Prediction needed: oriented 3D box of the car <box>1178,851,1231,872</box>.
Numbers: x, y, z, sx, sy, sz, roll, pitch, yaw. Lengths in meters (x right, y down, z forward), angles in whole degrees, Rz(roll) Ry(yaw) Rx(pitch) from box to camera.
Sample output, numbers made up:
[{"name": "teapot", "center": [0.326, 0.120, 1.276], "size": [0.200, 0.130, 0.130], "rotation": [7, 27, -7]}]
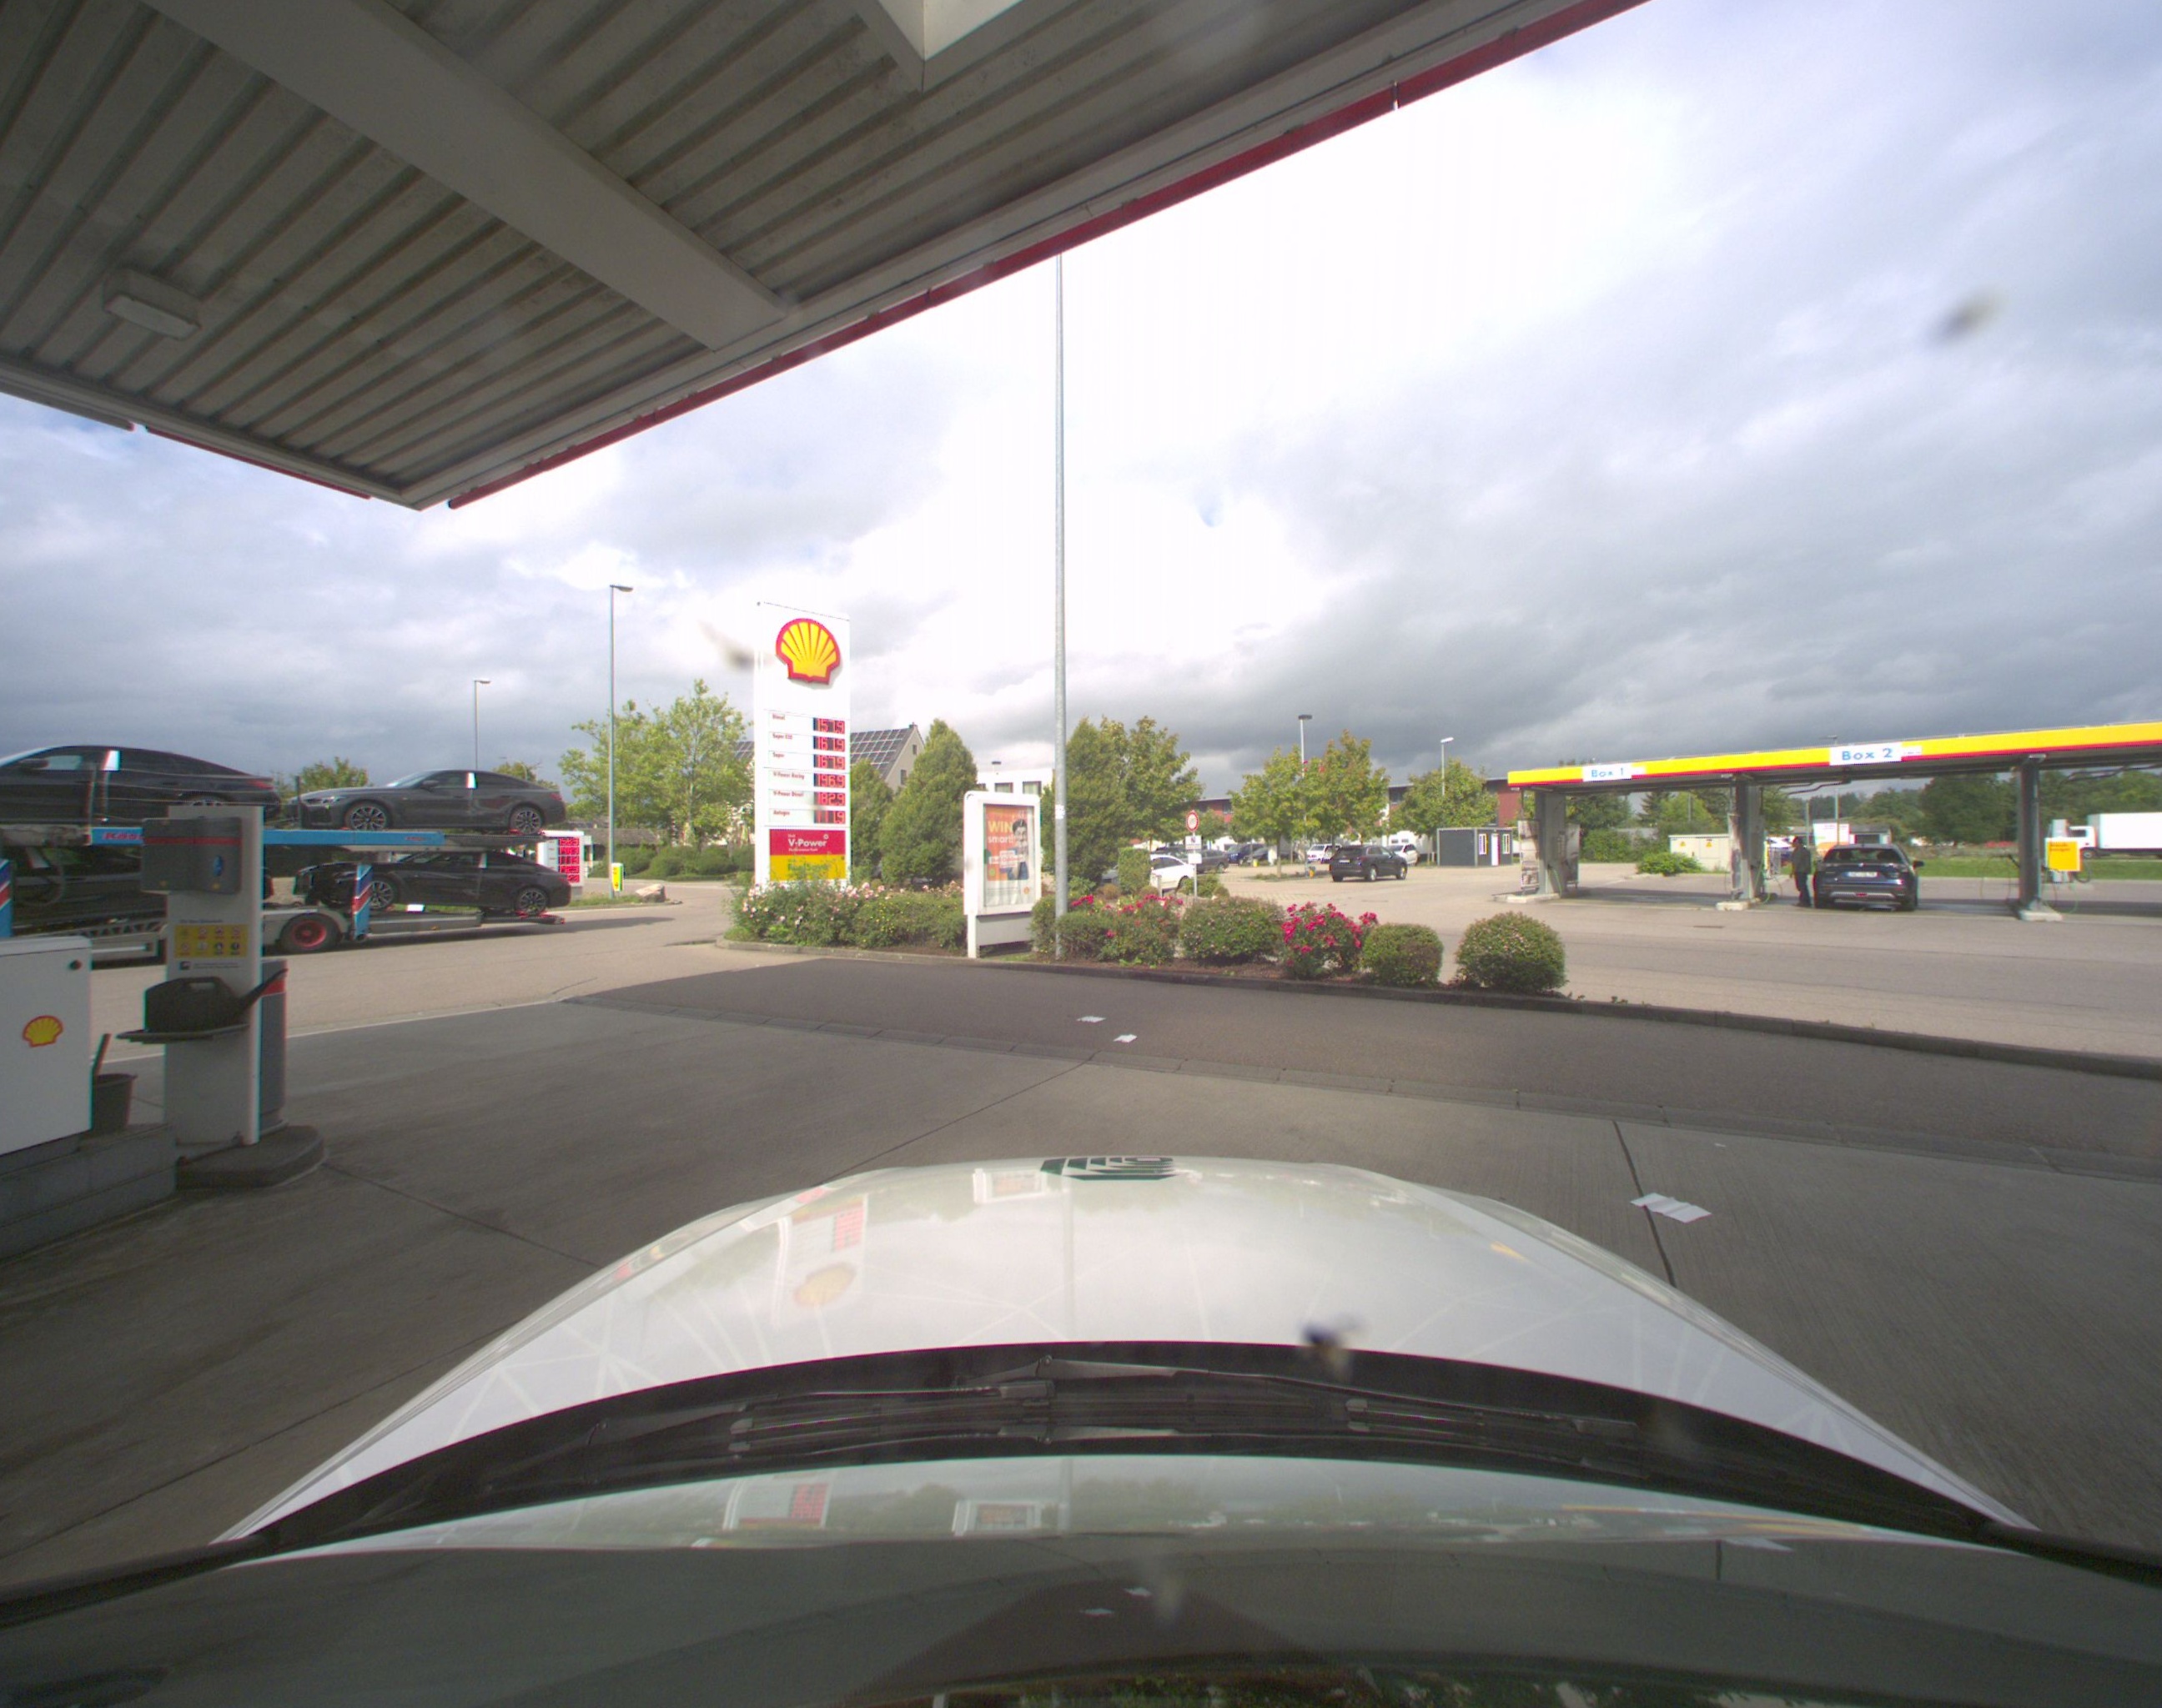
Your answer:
[{"name": "car", "center": [7.544, 0.450, 49.713], "size": [3.245, 1.228, 1.488], "rotation": [0, -1, -42]}]

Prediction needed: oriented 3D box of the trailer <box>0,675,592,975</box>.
[{"name": "trailer", "center": [-16.433, -0.413, 13.694], "size": [2.711, 4.423, 14.450], "rotation": [-1, -1, 31]}]

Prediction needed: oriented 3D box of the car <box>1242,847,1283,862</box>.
[{"name": "car", "center": [14.497, 0.036, 64.883], "size": [3.437, 1.179, 1.468], "rotation": [0, -1, -42]}]

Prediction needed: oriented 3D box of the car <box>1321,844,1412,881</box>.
[{"name": "car", "center": [12.879, 0.374, 36.587], "size": [4.527, 1.548, 1.864], "rotation": [0, -1, -41]}]

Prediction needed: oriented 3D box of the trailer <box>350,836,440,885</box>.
[{"name": "trailer", "center": [-57.219, 0.549, 67.743], "size": [12.548, 3.776, 2.757], "rotation": [-1, -1, 36]}]

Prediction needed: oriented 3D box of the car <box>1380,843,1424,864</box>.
[{"name": "car", "center": [20.611, -0.046, 52.223], "size": [3.120, 1.307, 1.352], "rotation": [0, -1, -42]}]

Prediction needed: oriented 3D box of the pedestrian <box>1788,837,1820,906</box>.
[{"name": "pedestrian", "center": [18.276, 0.437, 20.598], "size": [0.551, 1.722, 0.531], "rotation": [-1, -1, 38]}]

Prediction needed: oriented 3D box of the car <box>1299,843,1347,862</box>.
[{"name": "car", "center": [23.879, -0.120, 80.275], "size": [4.903, 1.833, 2.159], "rotation": [0, -1, -41]}]

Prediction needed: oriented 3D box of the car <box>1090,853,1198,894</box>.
[{"name": "car", "center": [2.397, 0.683, 30.029], "size": [4.368, 1.404, 1.354], "rotation": [0, -1, -42]}]

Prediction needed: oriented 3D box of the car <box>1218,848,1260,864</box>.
[{"name": "car", "center": [12.955, 0.184, 66.667], "size": [3.407, 1.320, 1.726], "rotation": [0, -1, -42]}]

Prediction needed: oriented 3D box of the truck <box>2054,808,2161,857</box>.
[{"name": "truck", "center": [78.235, -1.561, 60.011], "size": [7.989, 3.534, 2.714], "rotation": [-1, -1, 41]}]

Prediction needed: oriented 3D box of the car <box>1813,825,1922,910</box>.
[{"name": "car", "center": [19.440, 0.314, 20.082], "size": [3.828, 1.897, 1.703], "rotation": [0, -1, -43]}]
